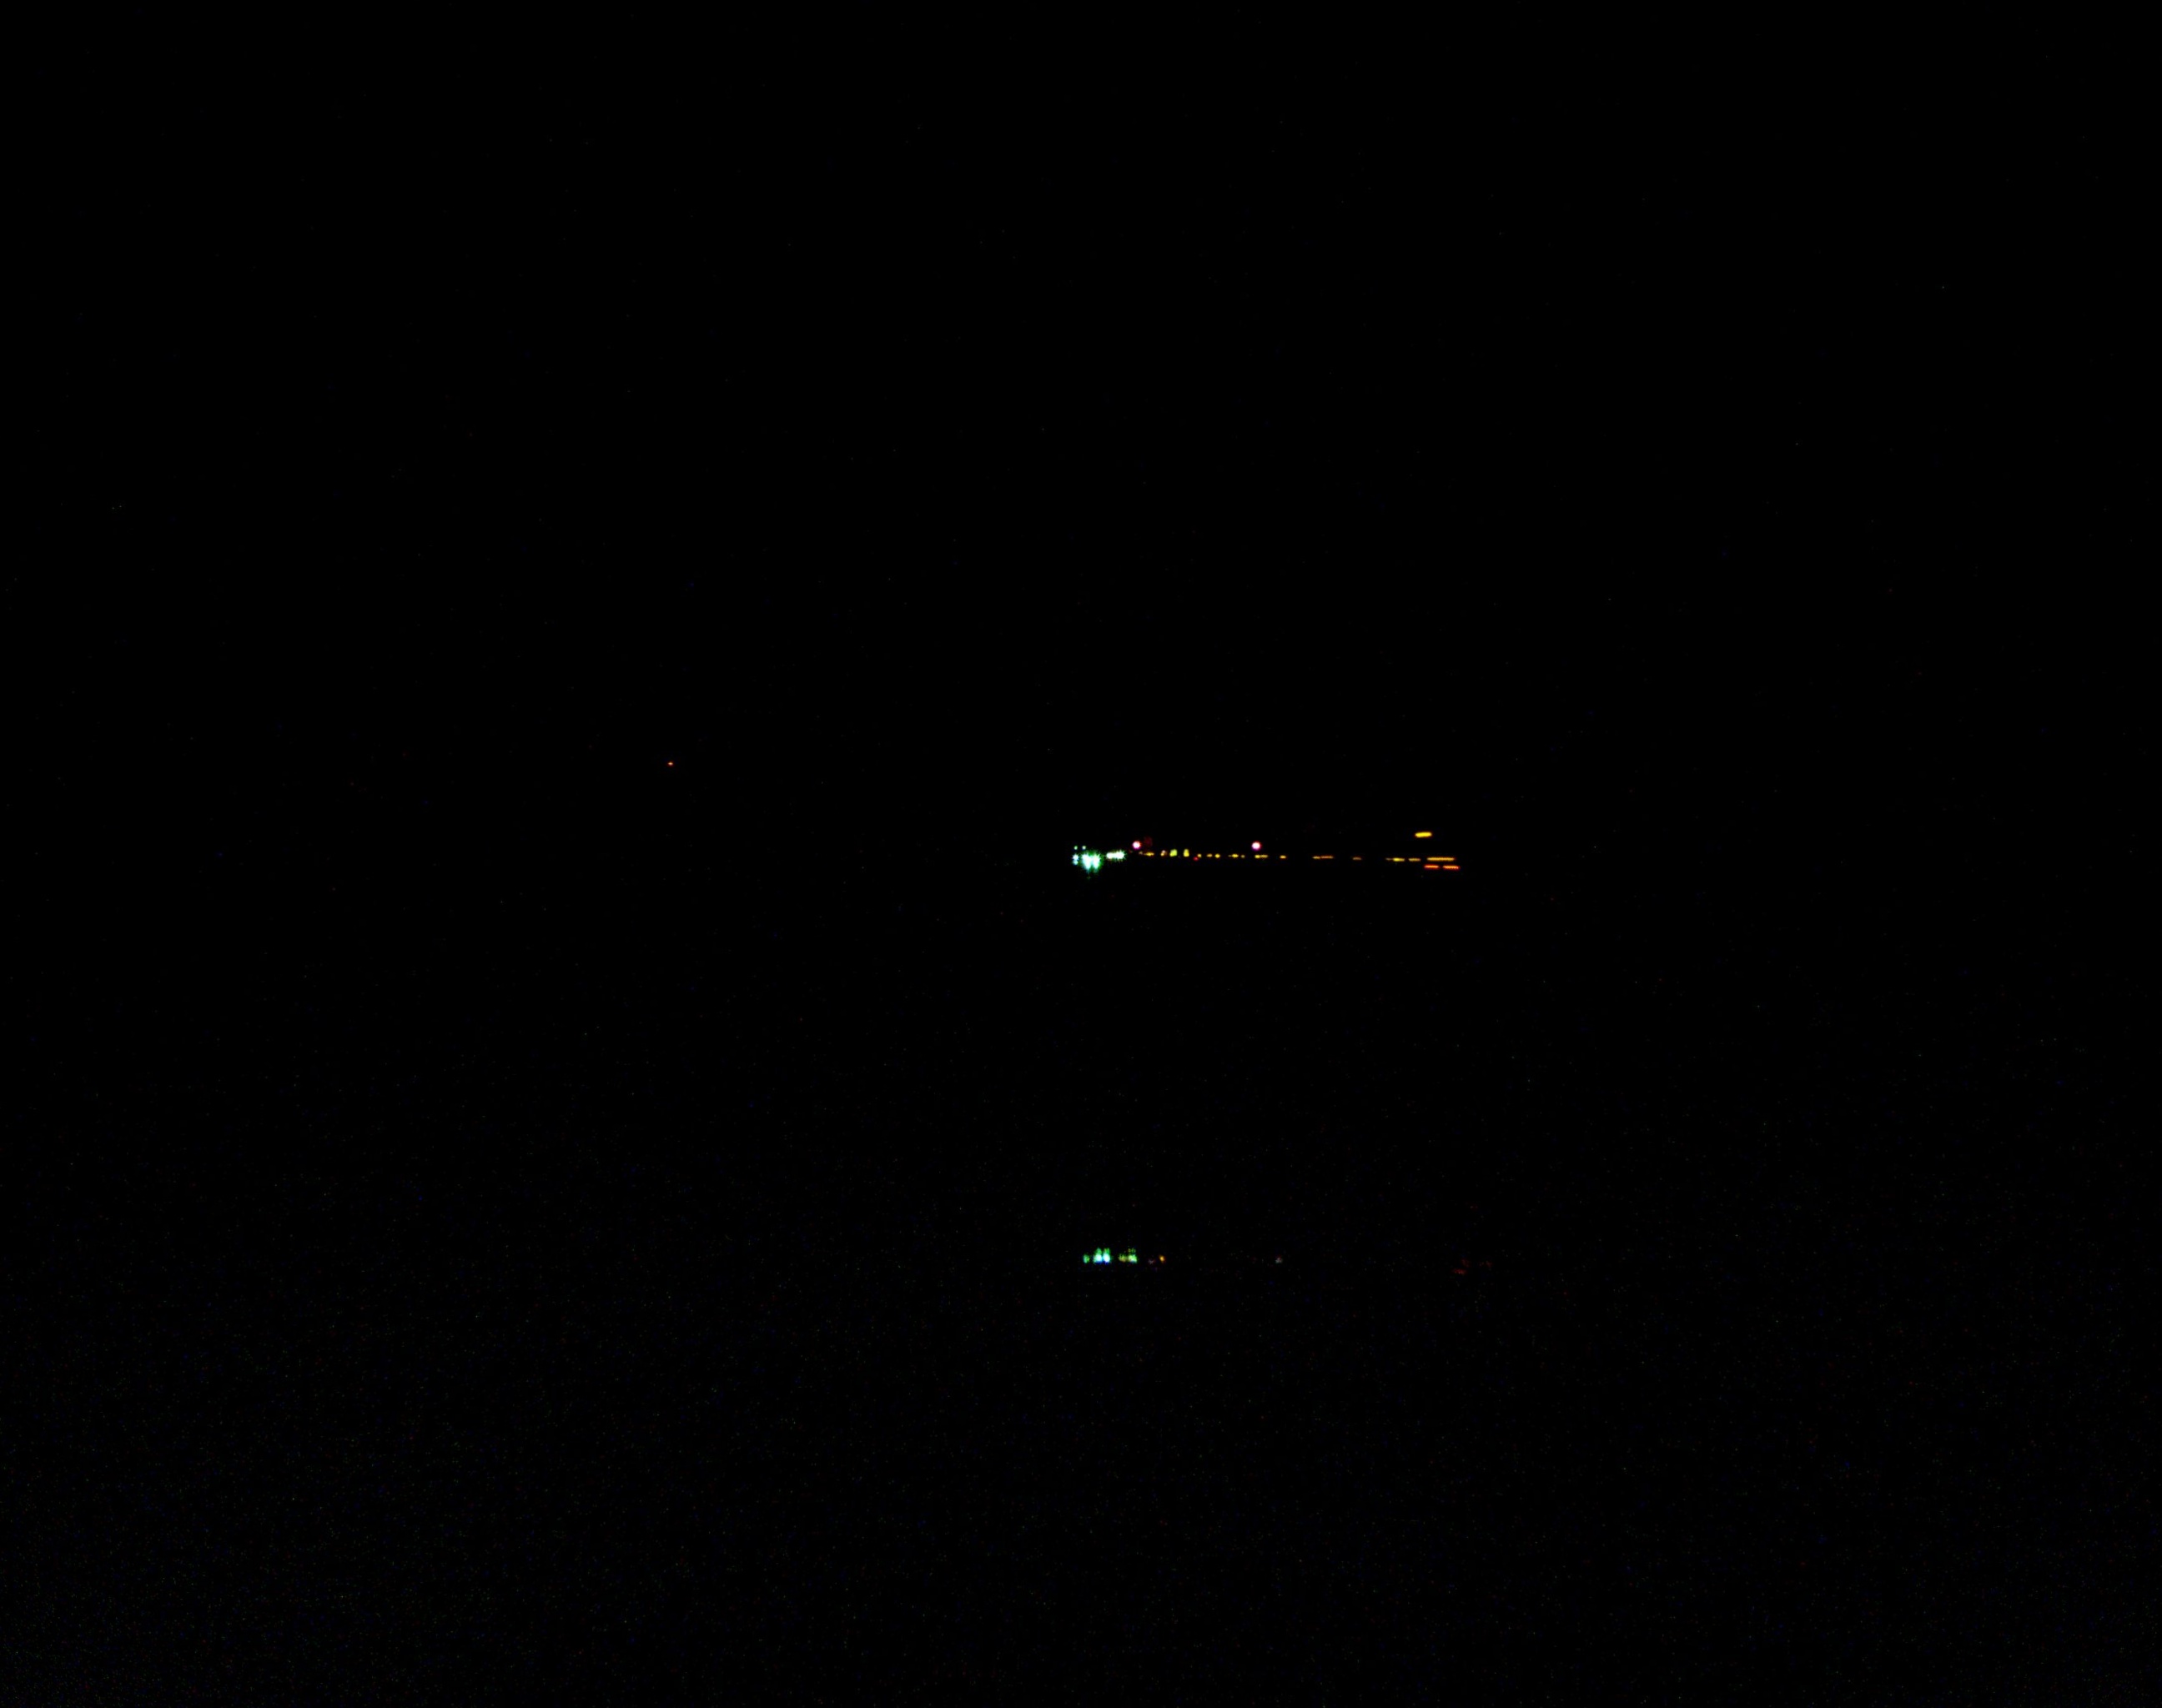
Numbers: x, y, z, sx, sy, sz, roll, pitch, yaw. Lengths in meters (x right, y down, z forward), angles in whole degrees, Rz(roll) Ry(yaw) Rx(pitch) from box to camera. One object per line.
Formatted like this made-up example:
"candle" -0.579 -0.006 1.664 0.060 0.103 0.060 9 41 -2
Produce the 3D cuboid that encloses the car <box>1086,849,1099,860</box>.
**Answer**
"car" 2.063 0.100 139.733 2.267 1.842 5.402 -2 1 -1

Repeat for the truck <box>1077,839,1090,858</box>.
"truck" 0.541 -1.349 184.441 2.749 4.182 13.508 -2 1 0
